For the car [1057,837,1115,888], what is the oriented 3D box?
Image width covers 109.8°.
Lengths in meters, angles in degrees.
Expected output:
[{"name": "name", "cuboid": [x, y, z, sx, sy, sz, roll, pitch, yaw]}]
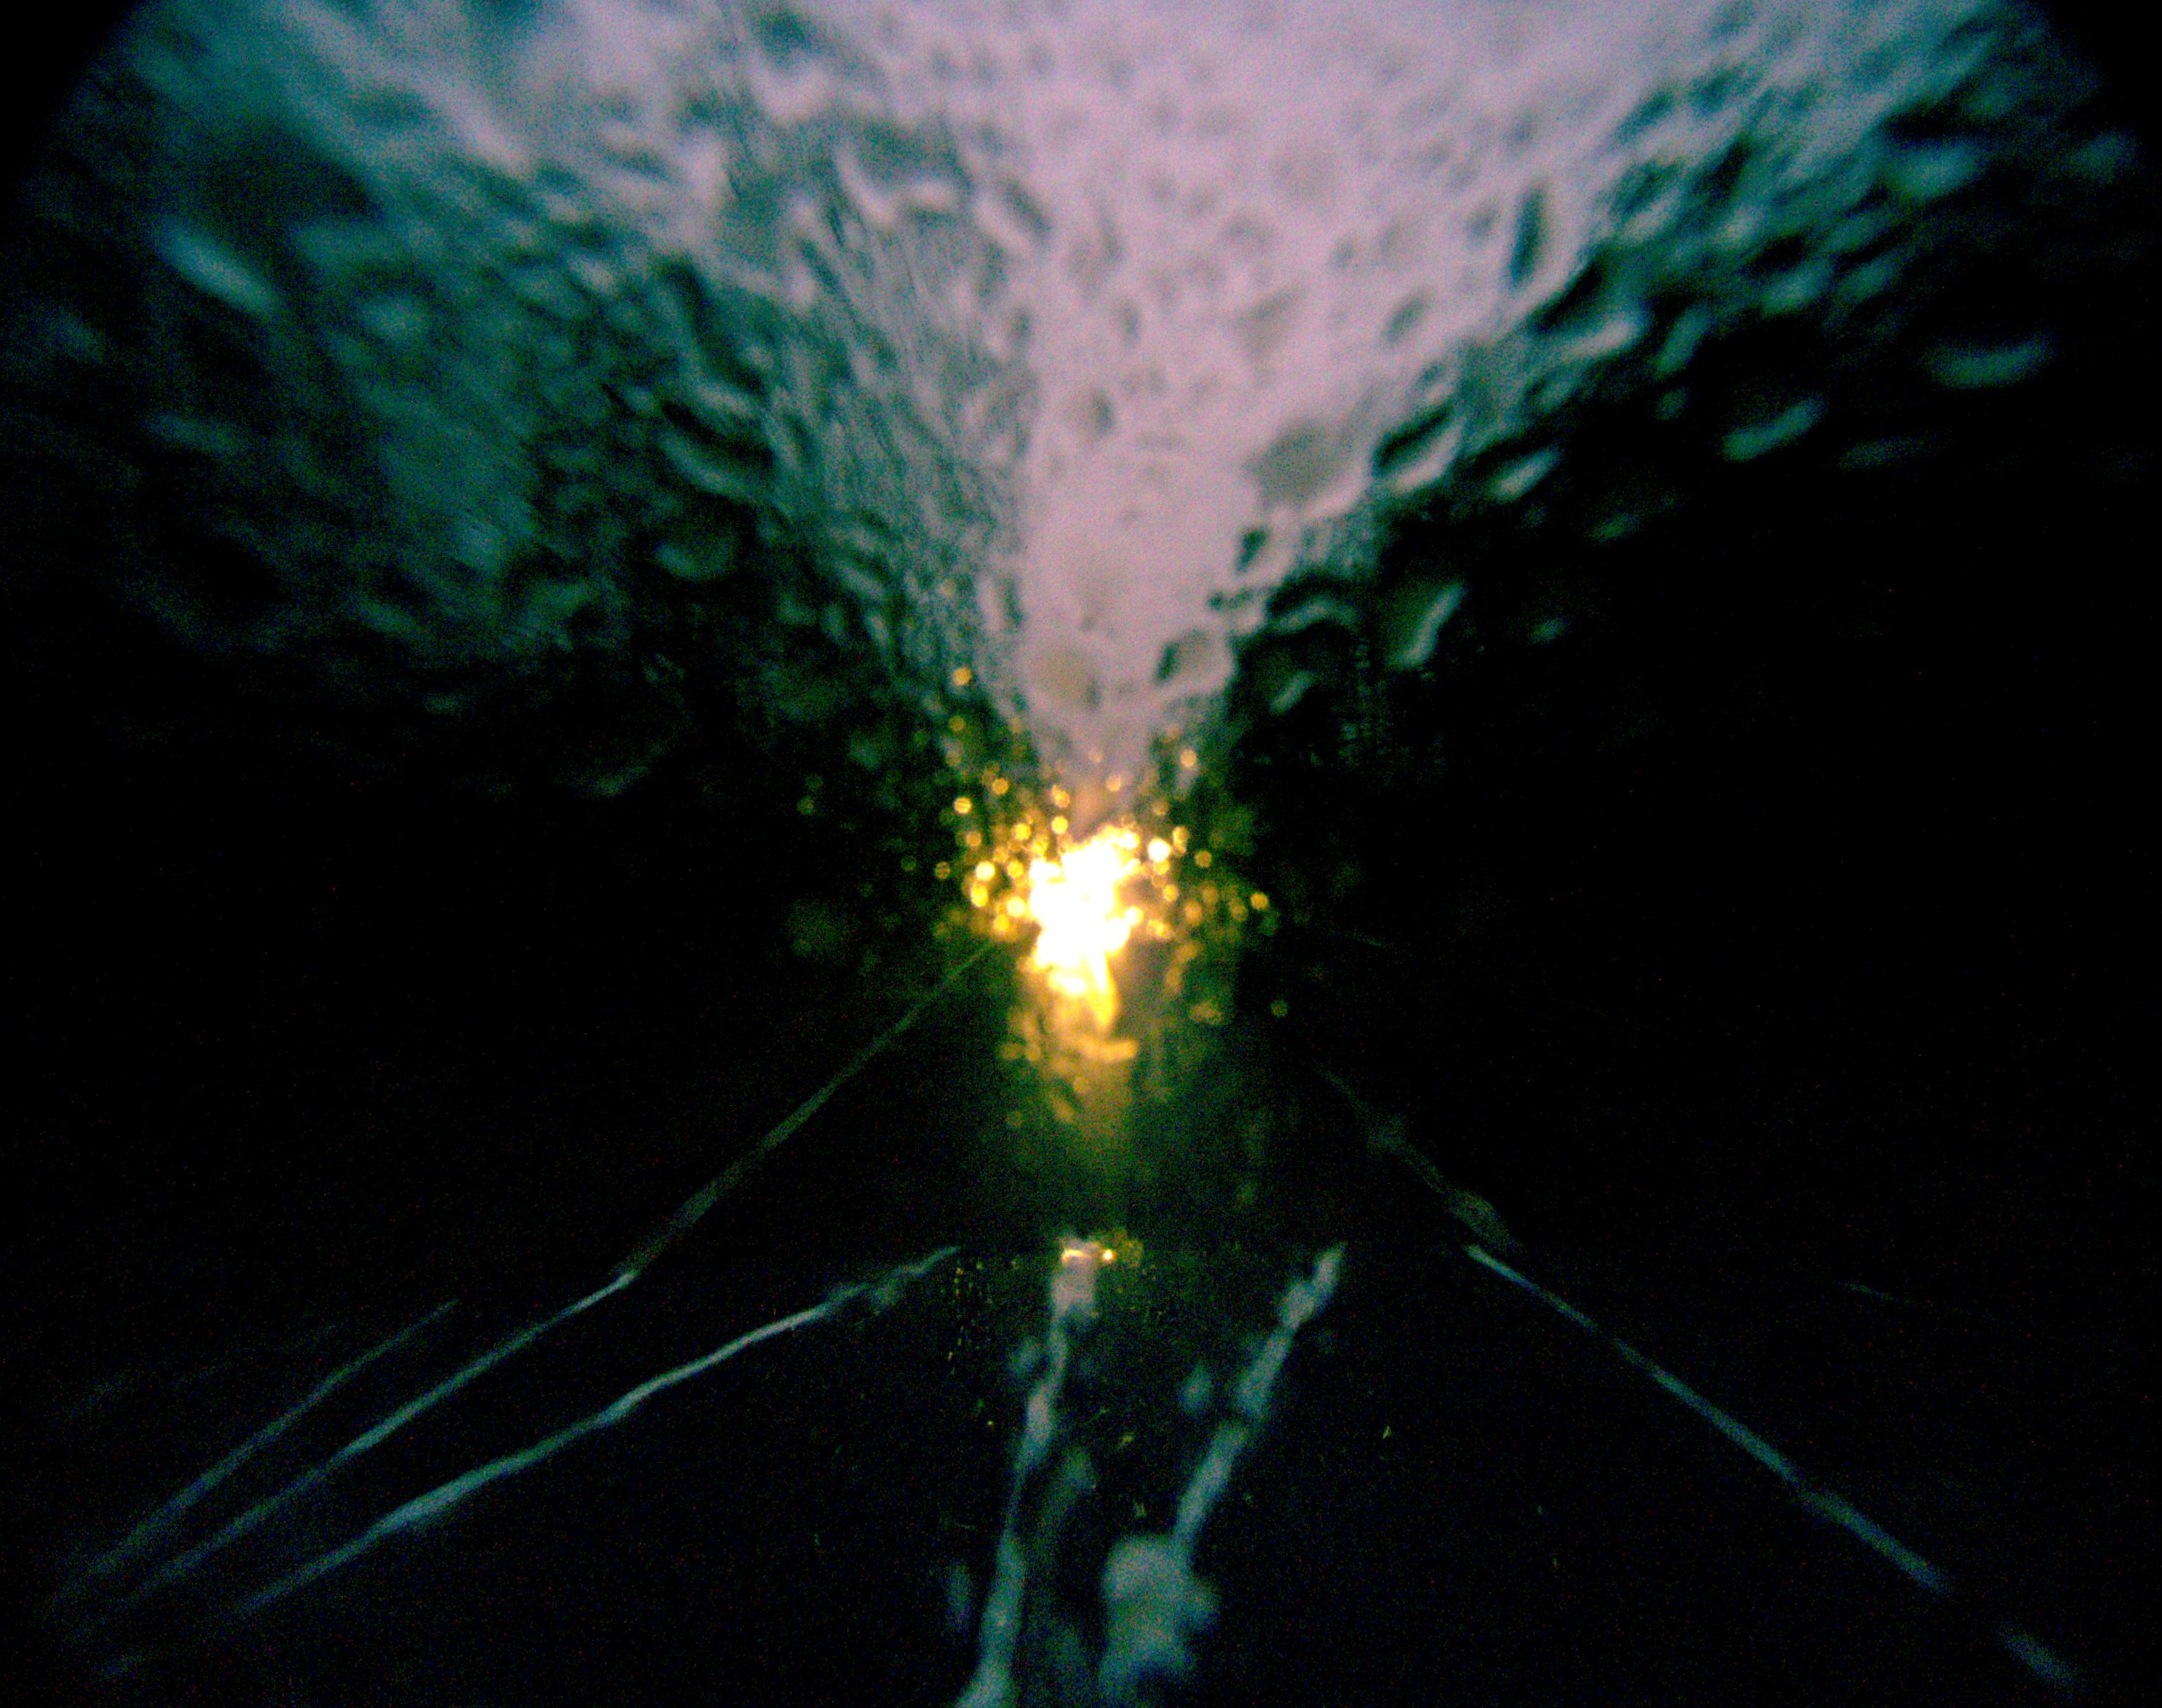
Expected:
[{"name": "car", "cuboid": [0.292, 0.365, 37.430, 2.542, 2.213, 6.169, -2, 1, 1]}]
